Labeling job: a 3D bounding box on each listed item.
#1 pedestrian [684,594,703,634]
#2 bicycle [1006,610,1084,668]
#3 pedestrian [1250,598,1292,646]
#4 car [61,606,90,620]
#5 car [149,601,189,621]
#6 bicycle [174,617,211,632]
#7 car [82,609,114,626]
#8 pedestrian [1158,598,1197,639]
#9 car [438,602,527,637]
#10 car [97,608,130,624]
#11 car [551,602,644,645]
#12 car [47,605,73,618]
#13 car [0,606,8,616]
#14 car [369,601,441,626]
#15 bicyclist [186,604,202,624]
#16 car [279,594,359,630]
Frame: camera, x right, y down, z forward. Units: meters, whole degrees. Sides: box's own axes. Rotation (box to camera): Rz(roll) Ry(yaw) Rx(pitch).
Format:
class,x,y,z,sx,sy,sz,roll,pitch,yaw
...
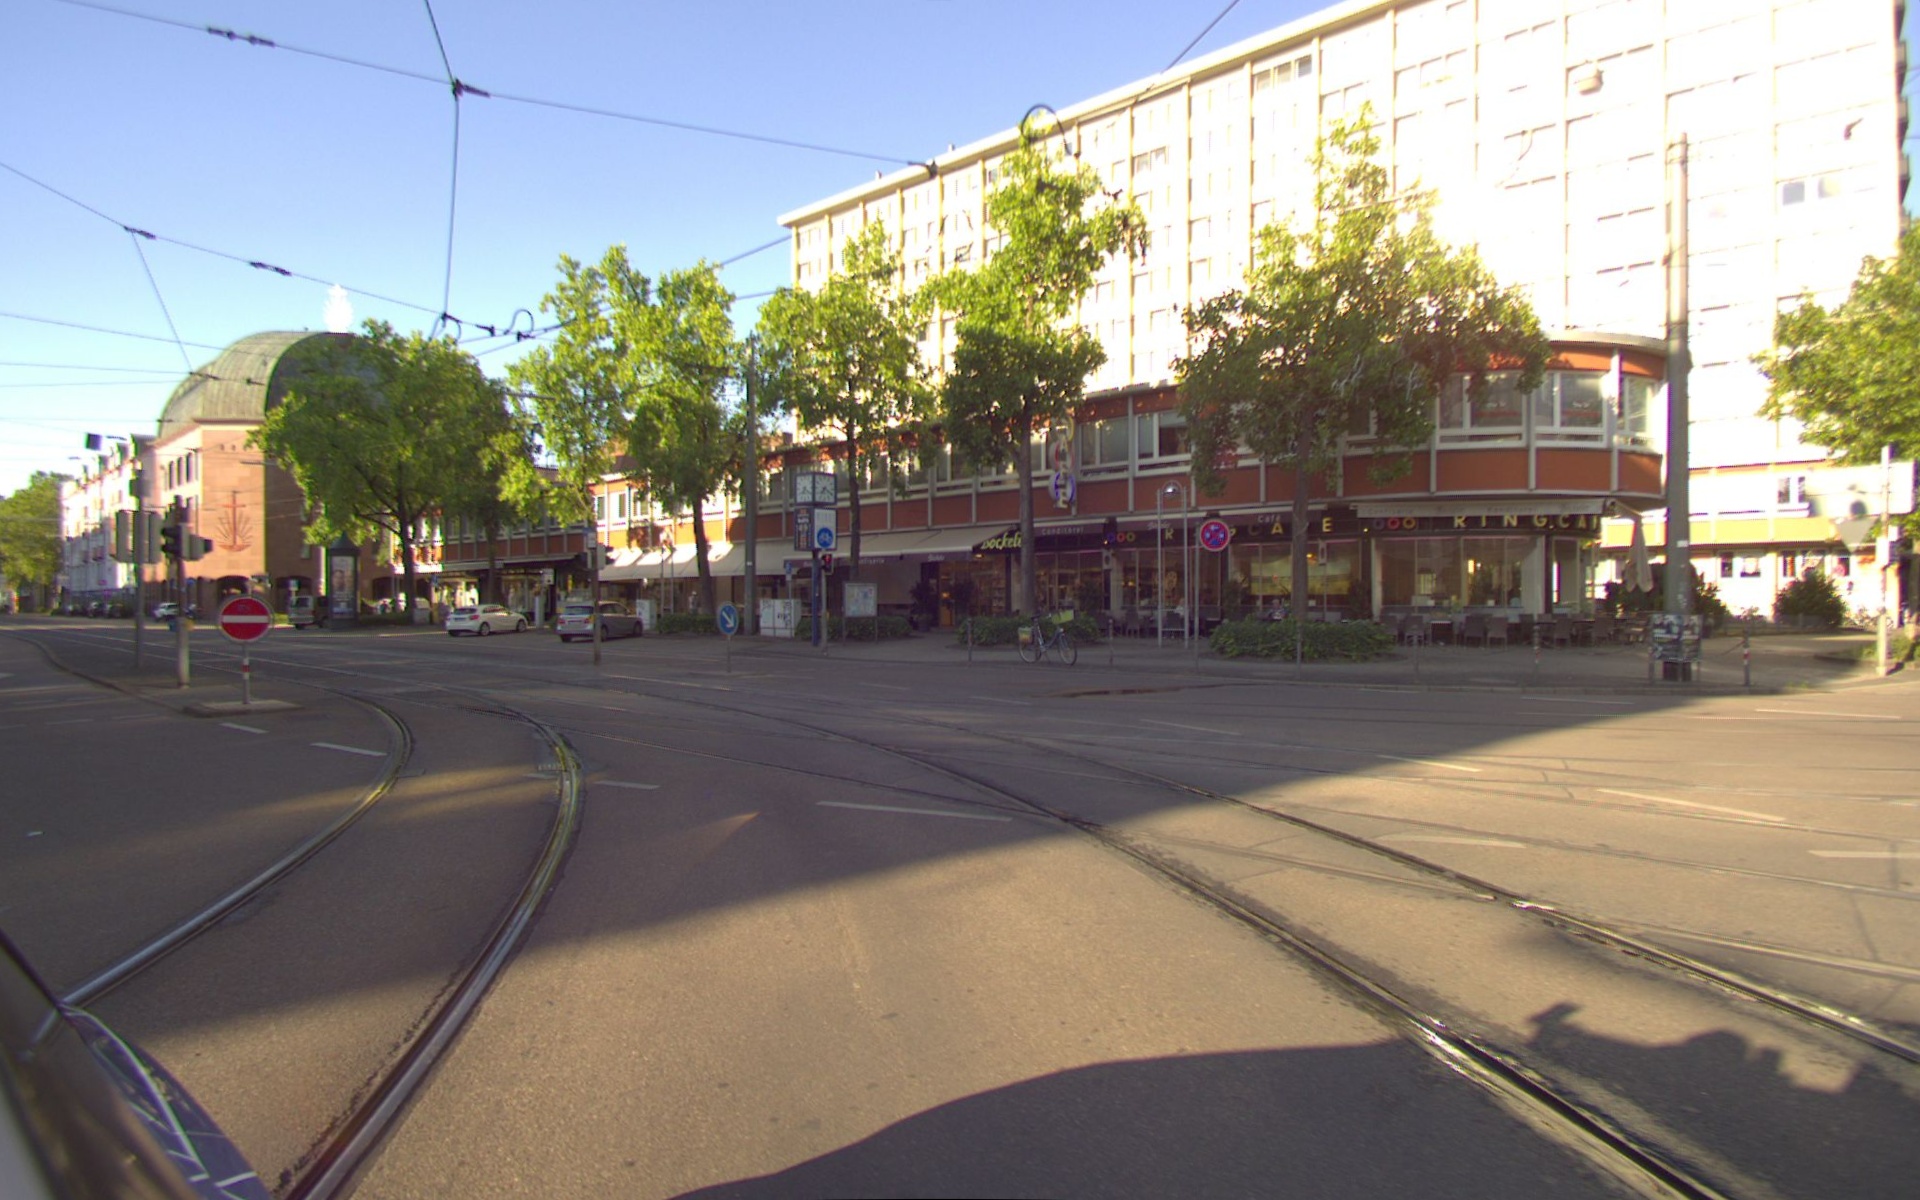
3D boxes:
class,x,y,z,sx,sy,sz,roll,pitch,yaw
pedestrian,-12.139,0.630,46.110,0.626,1.782,0.771,0,1,-32
bicycle,1.915,0.851,22.975,0.574,1.244,1.859,-2,1,-42
pedestrian,9.317,0.659,30.337,0.891,1.407,0.923,-1,-1,44
car,-104.952,1.531,120.074,3.997,1.615,1.940,0,1,41
car,-66.125,0.925,84.601,3.997,1.615,1.886,0,1,41
bicycle,-55.835,1.780,73.657,2.003,1.100,0.675,0,0,-21
car,-91.050,1.829,106.884,3.997,1.615,1.940,0,1,41
pedestrian,6.901,0.587,32.110,0.826,1.272,0.910,0,0,-32
car,-22.570,0.895,47.997,1.778,1.486,3.987,-1,1,11
car,-86.063,1.613,102.857,3.997,1.615,1.940,0,1,41
car,-14.544,0.913,40.826,1.778,1.565,3.987,-1,1,11
car,-116.723,1.470,131.262,3.997,1.615,1.940,0,1,41
car,-159.602,1.864,167.988,3.997,1.615,1.940,0,1,41
car,-46.224,1.069,84.332,1.999,2.029,4.920,-1,-1,40
bicyclist,-55.773,1.014,73.692,0.750,1.433,0.675,0,0,-21
car,-37.638,0.691,59.543,1.889,1.979,3.991,-1,1,7
